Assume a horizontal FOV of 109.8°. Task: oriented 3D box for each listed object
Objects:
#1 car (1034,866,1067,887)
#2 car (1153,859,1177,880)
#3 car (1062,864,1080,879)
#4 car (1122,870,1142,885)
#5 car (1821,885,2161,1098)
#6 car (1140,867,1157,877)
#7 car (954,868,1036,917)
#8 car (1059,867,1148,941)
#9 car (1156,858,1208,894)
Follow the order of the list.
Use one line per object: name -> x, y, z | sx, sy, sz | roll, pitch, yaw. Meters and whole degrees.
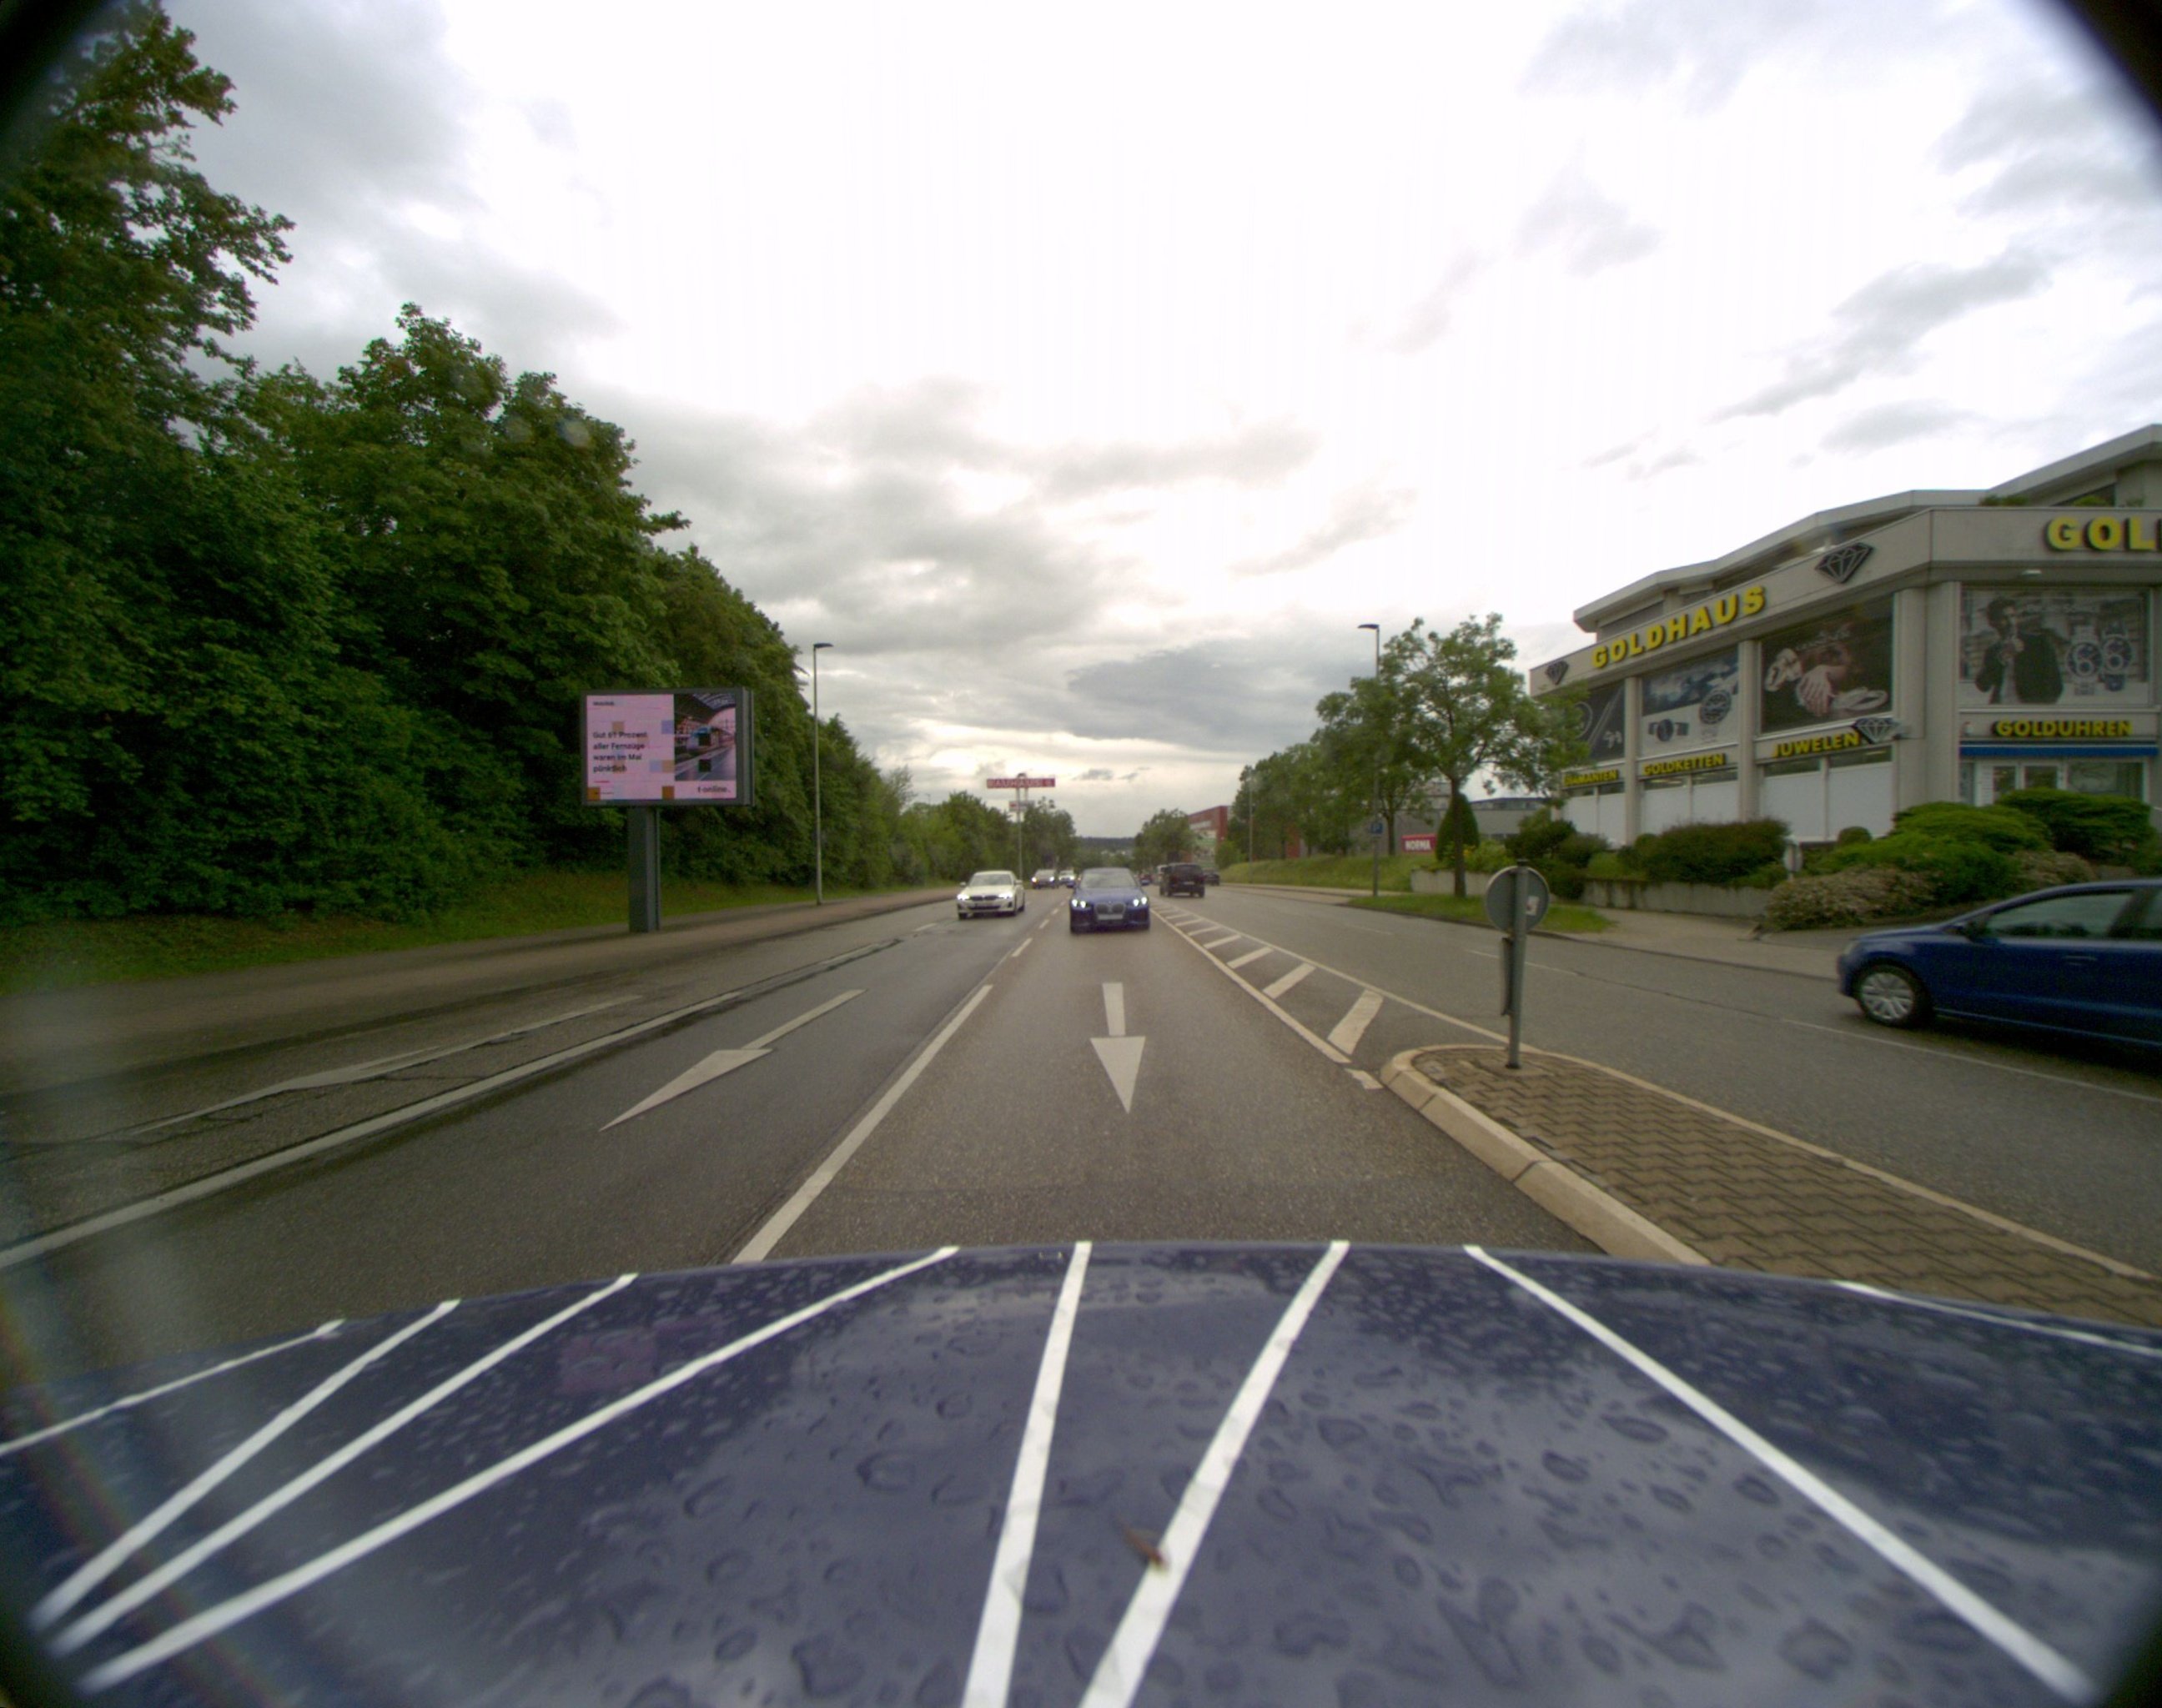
car -> -2.435, 1.825, 62.090 | 2.113, 1.609, 4.842 | -1, -1, 4
car -> 8.176, 1.467, 74.480 | 1.800, 1.971, 4.899 | 1, 0, 0
car -> -1.052, 1.873, 82.119 | 1.853, 1.564, 4.000 | -2, 0, 0
car -> 5.108, 2.336, 76.044 | 1.671, 1.390, 4.000 | 1, 0, -1
car -> 8.167, 0.991, 5.648 | 1.638, 1.373, 3.765 | 1, 0, 0
car -> 9.247, 2.446, 104.536 | 1.798, 1.393, 4.299 | 1, -1, -3
car -> -2.753, 1.235, 25.273 | 1.863, 1.473, 4.003 | -1, -1, 6
car -> 0.628, 1.102, 18.441 | 1.827, 1.473, 4.842 | -2, -1, 4
car -> 4.934, 1.055, 37.623 | 1.761, 1.667, 4.147 | 1, 0, -4
